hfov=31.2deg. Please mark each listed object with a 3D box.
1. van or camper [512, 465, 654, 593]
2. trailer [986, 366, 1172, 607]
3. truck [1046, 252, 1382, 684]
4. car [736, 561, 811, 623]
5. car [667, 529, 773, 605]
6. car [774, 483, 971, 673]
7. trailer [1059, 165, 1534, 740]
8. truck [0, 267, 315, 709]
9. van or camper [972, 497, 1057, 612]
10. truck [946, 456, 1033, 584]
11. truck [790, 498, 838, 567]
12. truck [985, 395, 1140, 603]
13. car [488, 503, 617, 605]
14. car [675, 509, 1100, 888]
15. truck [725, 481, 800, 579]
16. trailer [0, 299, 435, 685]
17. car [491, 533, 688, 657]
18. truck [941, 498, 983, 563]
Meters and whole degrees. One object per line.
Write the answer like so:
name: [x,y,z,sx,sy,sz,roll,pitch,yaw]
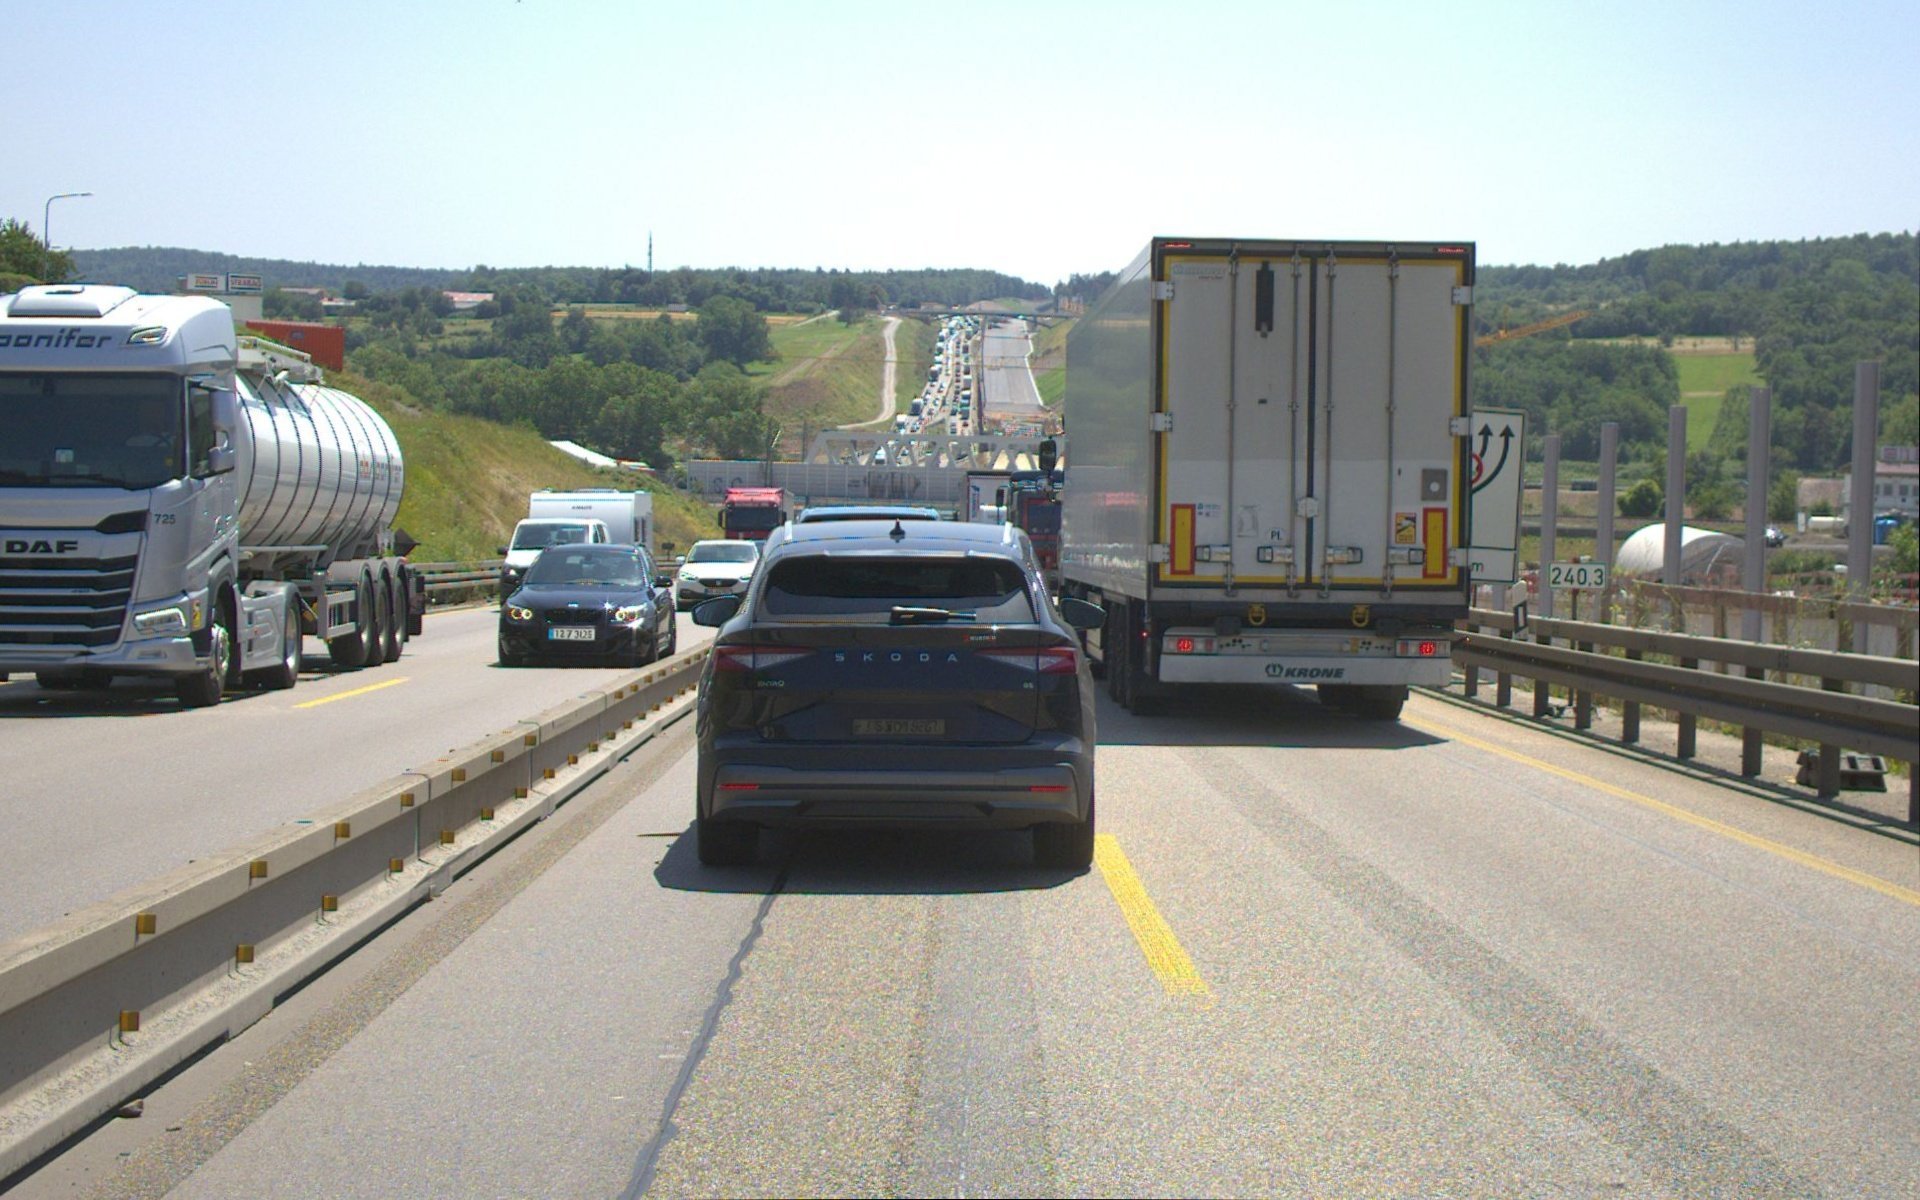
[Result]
van or camper: [-8.286,-1.578,76.293,2.357,2.667,7.858,1,1,-1]
trailer: [2.313,-2.142,72.430,3.180,4.498,14.967,1,0,-1]
truck: [2.774,-1.484,40.254,3.180,4.497,8.166,1,1,-1]
car: [-4.465,-0.213,82.583,1.665,1.408,3.818,1,1,-1]
car: [-4.891,-0.702,70.578,1.912,1.475,4.637,1,1,-1]
car: [-0.926,-0.227,37.538,1.993,1.919,4.508,1,0,-1]
trailer: [2.854,-1.324,33.780,3.180,4.497,13.109,1,1,-1]
truck: [-7.915,-1.004,31.777,2.779,3.660,6.278,1,1,-1]
van or camper: [1.651,-1.285,101.383,2.389,3.269,6.468,1,0,2]
truck: [1.015,-2.869,127.935,2.852,4.450,11.918,1,0,-1]
truck: [-9.697,-4.434,229.768,2.852,4.323,11.918,1,0,-1]
truck: [2.270,-2.212,79.432,3.180,4.498,8.165,1,0,-1]
car: [-8.209,-0.953,69.700,1.993,1.964,5.343,1,1,0]
car: [-0.310,0.406,16.755,1.802,1.602,4.000,1,0,0]
truck: [-8.815,-3.075,154.670,2.852,4.125,11.918,1,0,-1]
trailer: [-8.005,-1.135,38.182,2.716,3.581,11.796,1,1,-1]
car: [-4.447,-0.106,41.909,1.895,1.409,4.679,0,1,0]
truck: [0.110,-4.654,232.114,2.640,4.179,9.284,1,0,0]
